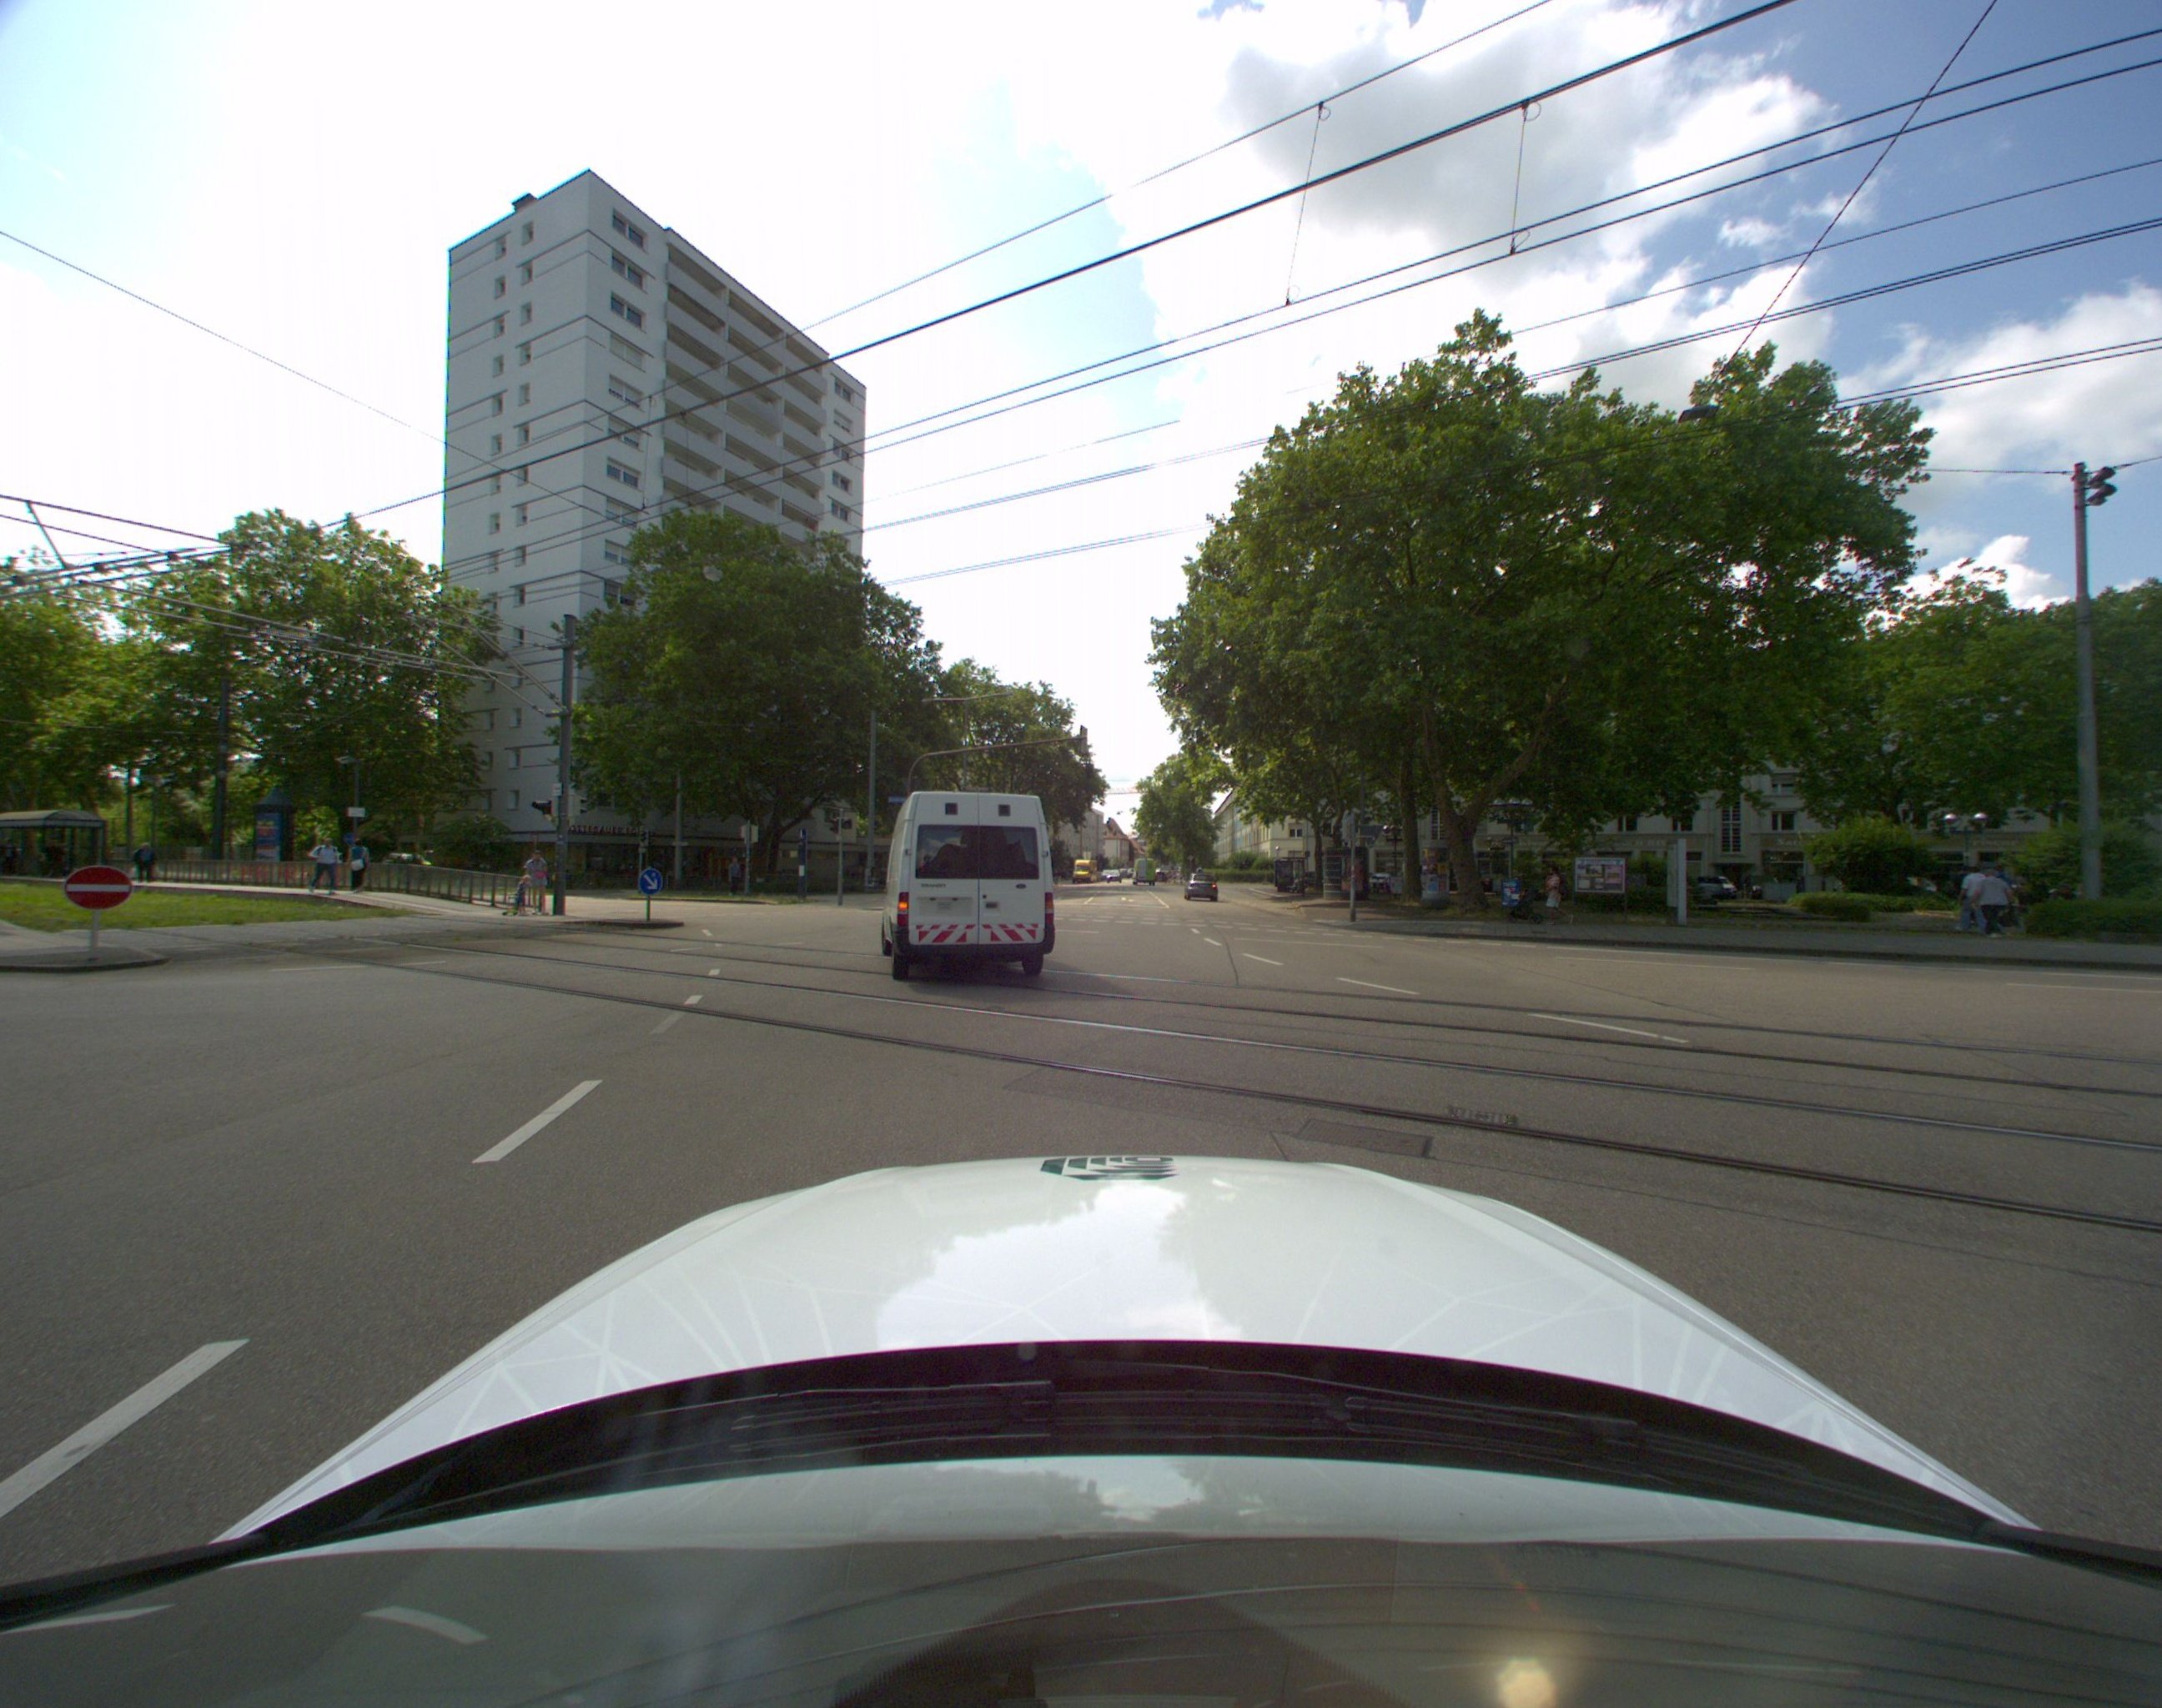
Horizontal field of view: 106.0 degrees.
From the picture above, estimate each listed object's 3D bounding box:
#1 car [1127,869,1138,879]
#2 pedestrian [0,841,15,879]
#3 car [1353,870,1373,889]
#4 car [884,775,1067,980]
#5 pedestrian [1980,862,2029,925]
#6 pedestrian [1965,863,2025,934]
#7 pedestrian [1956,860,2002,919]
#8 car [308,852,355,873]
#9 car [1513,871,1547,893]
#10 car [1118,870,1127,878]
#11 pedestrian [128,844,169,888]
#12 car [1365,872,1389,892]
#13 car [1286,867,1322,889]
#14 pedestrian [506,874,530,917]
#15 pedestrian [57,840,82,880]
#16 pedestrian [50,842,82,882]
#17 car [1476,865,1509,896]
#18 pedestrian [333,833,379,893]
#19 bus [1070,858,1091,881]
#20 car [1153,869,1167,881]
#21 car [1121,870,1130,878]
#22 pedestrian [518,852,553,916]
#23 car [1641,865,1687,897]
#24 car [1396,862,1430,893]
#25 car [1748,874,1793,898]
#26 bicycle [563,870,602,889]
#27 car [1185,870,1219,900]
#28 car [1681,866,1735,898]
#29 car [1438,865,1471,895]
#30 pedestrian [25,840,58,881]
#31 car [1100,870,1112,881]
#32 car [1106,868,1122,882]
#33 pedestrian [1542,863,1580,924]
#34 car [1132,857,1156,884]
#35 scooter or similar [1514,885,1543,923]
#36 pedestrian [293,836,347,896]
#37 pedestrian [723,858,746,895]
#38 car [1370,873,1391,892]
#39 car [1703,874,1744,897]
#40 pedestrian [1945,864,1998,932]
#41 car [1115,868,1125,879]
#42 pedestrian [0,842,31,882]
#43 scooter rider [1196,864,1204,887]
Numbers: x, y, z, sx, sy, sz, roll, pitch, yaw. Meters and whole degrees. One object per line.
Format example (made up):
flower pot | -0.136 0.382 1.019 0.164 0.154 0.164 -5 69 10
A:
car | 9.693 3.768 153.867 1.852 1.661 3.756 1 -1 6
pedestrian | -51.370 0.288 38.622 1.118 1.801 0.718 0 -1 26
car | 25.180 2.241 72.745 1.452 1.666 3.083 0 -1 23
car | -1.748 0.297 11.818 2.050 2.333 4.690 1 -1 -15
pedestrian | 26.035 1.106 22.974 0.694 1.750 0.606 1 -1 3
pedestrian | 22.786 1.098 20.312 0.714 1.723 0.693 1 -1 3
pedestrian | 26.851 1.047 24.353 0.694 1.750 0.606 1 -1 3
car | -68.666 0.779 74.621 4.284 1.815 1.824 0 -1 28
car | 31.287 1.943 56.833 1.975 1.422 4.023 0 -1 27
car | 8.414 4.020 163.969 1.651 1.661 3.756 0 -1 6
pedestrian | -38.306 0.477 33.458 0.865 1.775 0.865 0 -2 27
car | 20.880 1.963 57.490 1.453 1.389 3.081 0 -1 18
car | 17.596 1.872 64.111 2.009 1.601 4.564 0 -1 25
pedestrian | -14.409 1.058 20.842 0.422 1.063 0.431 2 -2 -43
pedestrian | -48.508 0.305 39.068 0.533 1.900 0.472 1 -1 2
pedestrian | -46.739 0.374 37.497 0.779 1.849 0.707 0 -1 26
car | 29.100 1.877 57.563 1.975 2.076 4.023 0 -1 27
pedestrian | -23.503 0.304 26.406 0.836 1.899 0.834 0 -2 27
bus | -0.046 1.941 99.748 2.385 2.709 6.371 1 -1 1
car | 10.148 2.677 104.672 1.717 1.555 3.637 0 -1 4
car | 9.387 4.164 170.801 1.692 1.661 3.756 0 -1 6
pedestrian | -14.401 0.787 21.504 0.629 1.666 0.668 2 -1 -44
car | 38.651 1.785 54.053 1.975 2.014 4.024 0 -1 28
car | 24.486 1.709 59.976 1.975 2.183 4.282 0 -1 27
car | 50.453 2.299 59.685 1.722 1.637 4.024 0 -1 29
bicycle | -26.986 1.404 44.132 1.736 1.009 0.528 1 -1 -37
car | 6.664 1.681 45.057 1.683 1.538 3.473 0 0 5
car | 40.835 1.790 53.113 1.975 2.014 4.022 0 -1 25
car | 27.072 1.887 58.981 1.975 2.076 4.023 0 -1 27
pedestrian | -47.081 0.294 36.878 0.897 1.849 0.707 0 -1 25
car | 4.003 3.382 130.330 1.720 1.661 3.756 0 -1 6
car | 4.129 2.609 101.844 1.778 1.661 4.321 1 -1 5
pedestrian | 13.400 1.089 22.757 0.911 1.646 0.573 0 -1 28
car | 6.356 1.609 82.507 2.112 2.641 6.329 1 -1 1
scooter or similar | 12.712 1.409 23.150 0.699 1.056 0.494 0 -1 28
pedestrian | -23.231 0.351 24.855 1.032 1.780 0.856 0 -1 27
pedestrian | -15.235 0.996 35.806 0.775 1.599 0.538 0 -1 24
car | 22.447 2.103 61.082 1.453 1.389 3.251 0 -1 20
car | 48.058 2.303 60.984 1.722 1.637 4.024 0 -1 29
pedestrian | 23.540 1.143 21.536 0.665 1.764 0.693 1 -1 3
car | 7.481 3.713 155.916 1.644 1.932 3.756 0 -1 6
pedestrian | -51.864 0.389 39.552 1.018 1.873 0.818 0 -1 26
scooter rider | 9.740 1.759 66.575 0.524 1.812 0.649 1 -1 2
